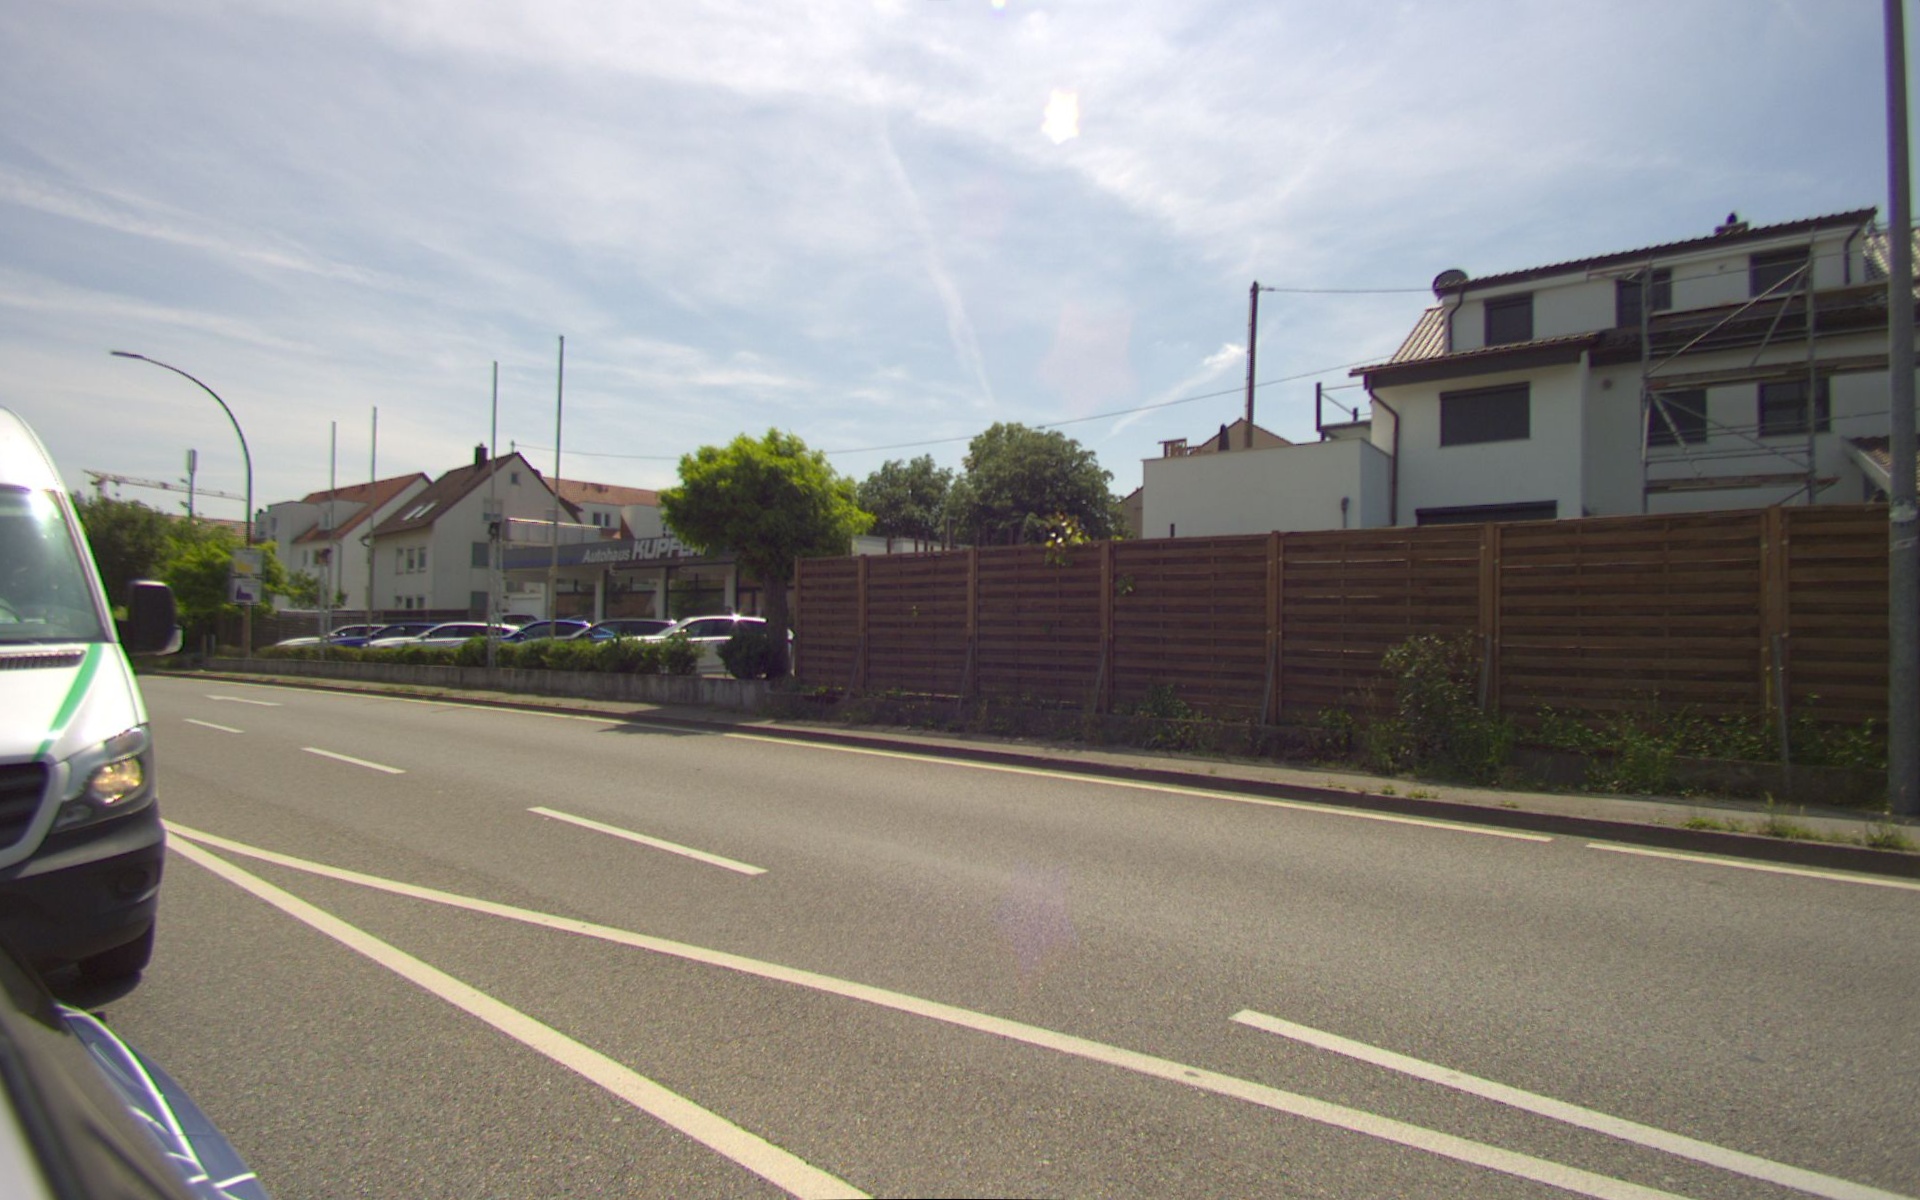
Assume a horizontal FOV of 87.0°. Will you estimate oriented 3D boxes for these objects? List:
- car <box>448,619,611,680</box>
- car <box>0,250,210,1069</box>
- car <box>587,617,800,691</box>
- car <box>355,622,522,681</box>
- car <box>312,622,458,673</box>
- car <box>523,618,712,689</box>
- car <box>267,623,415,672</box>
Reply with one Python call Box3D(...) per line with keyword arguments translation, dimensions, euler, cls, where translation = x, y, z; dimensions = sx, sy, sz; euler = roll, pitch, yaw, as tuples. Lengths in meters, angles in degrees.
Box3D(translation=(-11.630, 1.300, 27.425), dimensions=(3.931, 1.453, 1.860), euler=(-1, -1, -25), cls="car")
Box3D(translation=(-5.500, 0.253, 4.707), dimensions=(5.628, 2.619, 1.953), euler=(-2, -1, 40), cls="car")
Box3D(translation=(-5.867, 1.134, 22.335), dimensions=(4.264, 1.471, 1.861), euler=(0, -1, -26), cls="car")
Box3D(translation=(-15.274, 1.479, 29.902), dimensions=(4.238, 1.530, 2.006), euler=(-1, -1, -23), cls="car")
Box3D(translation=(-18.489, 1.509, 32.769), dimensions=(3.930, 1.475, 2.006), euler=(-1, -1, -24), cls="car")
Box3D(translation=(-8.453, 1.268, 25.018), dimensions=(4.187, 1.557, 1.856), euler=(-1, -1, -27), cls="car")
Box3D(translation=(-21.488, 1.611, 35.339), dimensions=(4.192, 1.541, 2.006), euler=(-1, -1, -24), cls="car")
